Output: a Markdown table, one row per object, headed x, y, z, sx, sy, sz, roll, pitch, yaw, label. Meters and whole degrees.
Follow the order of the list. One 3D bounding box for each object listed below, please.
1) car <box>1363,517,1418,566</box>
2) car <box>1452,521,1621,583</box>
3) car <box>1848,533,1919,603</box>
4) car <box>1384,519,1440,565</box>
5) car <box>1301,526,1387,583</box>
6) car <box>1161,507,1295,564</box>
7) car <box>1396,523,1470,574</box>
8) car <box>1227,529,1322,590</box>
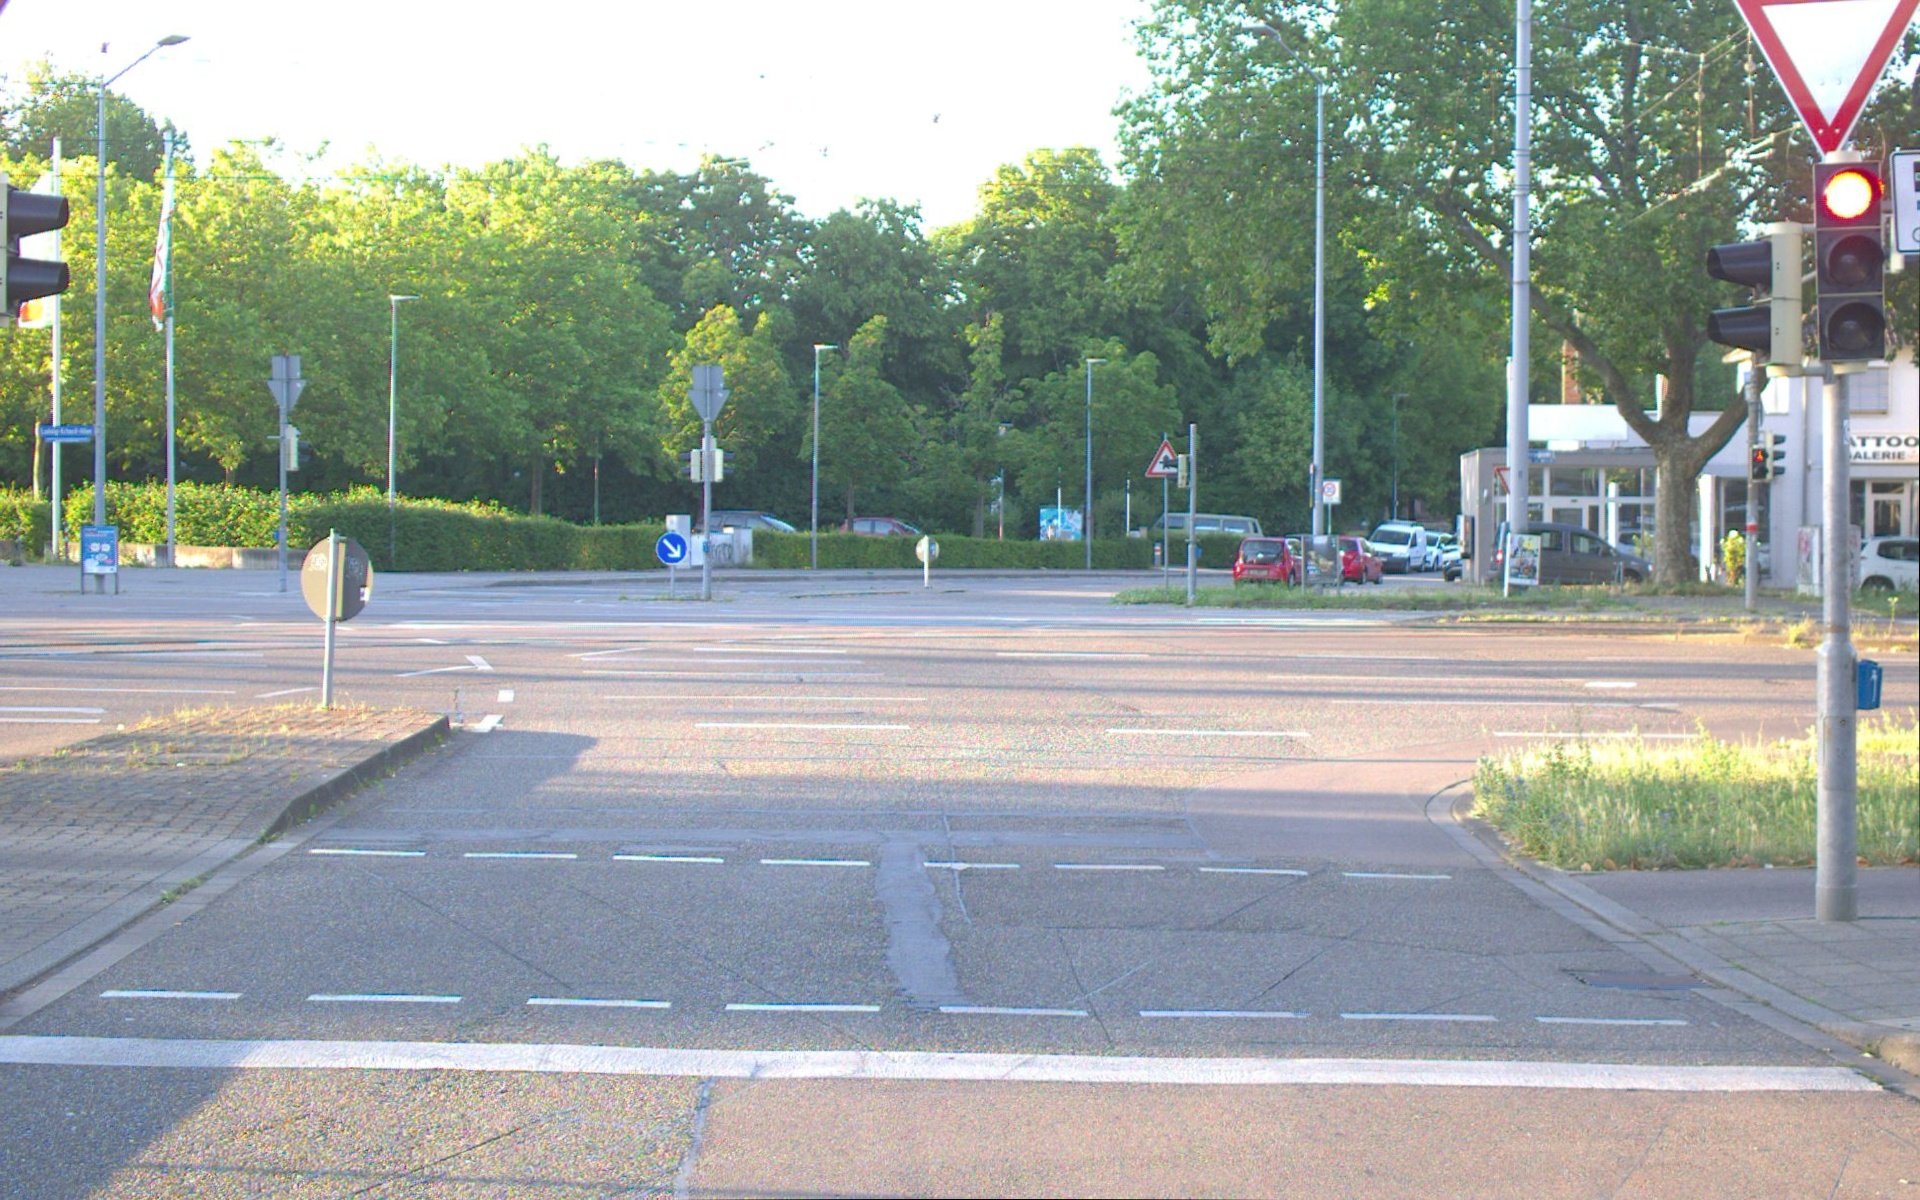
| x | y | z | sx | sy | sz | roll | pitch | yaw | label |
| --- | --- | --- | --- | --- | --- | --- | --- | --- | --- |
| 16.433 | -2.222 | 131.187 | 1.864 | 1.788 | 3.998 | 1 | 0 | 10 | car |
| 14.915 | -1.239 | 89.166 | 4.220 | 1.547 | 1.999 | 1 | 0 | 7 | car |
| 20.684 | -0.660 | 72.271 | 3.741 | 1.435 | 1.663 | 1 | 0 | 9 | car |
| 17.888 | -2.285 | 136.082 | 1.864 | 1.788 | 3.998 | 1 | 0 | 12 | car |
| 11.560 | -1.363 | 103.372 | 1.995 | 1.656 | 3.997 | 1 | 0 | 15 | car |
| 9.788 | -2.349 | 125.873 | 4.774 | 1.999 | 2.000 | 0 | 0 | 2 | car |
| 15.926 | -1.705 | 115.596 | 1.995 | 1.656 | 3.997 | 1 | 0 | 15 | car |
| 8.780 | -1.123 | 95.686 | 1.995 | 1.656 | 3.997 | 1 | 0 | 15 | car |
